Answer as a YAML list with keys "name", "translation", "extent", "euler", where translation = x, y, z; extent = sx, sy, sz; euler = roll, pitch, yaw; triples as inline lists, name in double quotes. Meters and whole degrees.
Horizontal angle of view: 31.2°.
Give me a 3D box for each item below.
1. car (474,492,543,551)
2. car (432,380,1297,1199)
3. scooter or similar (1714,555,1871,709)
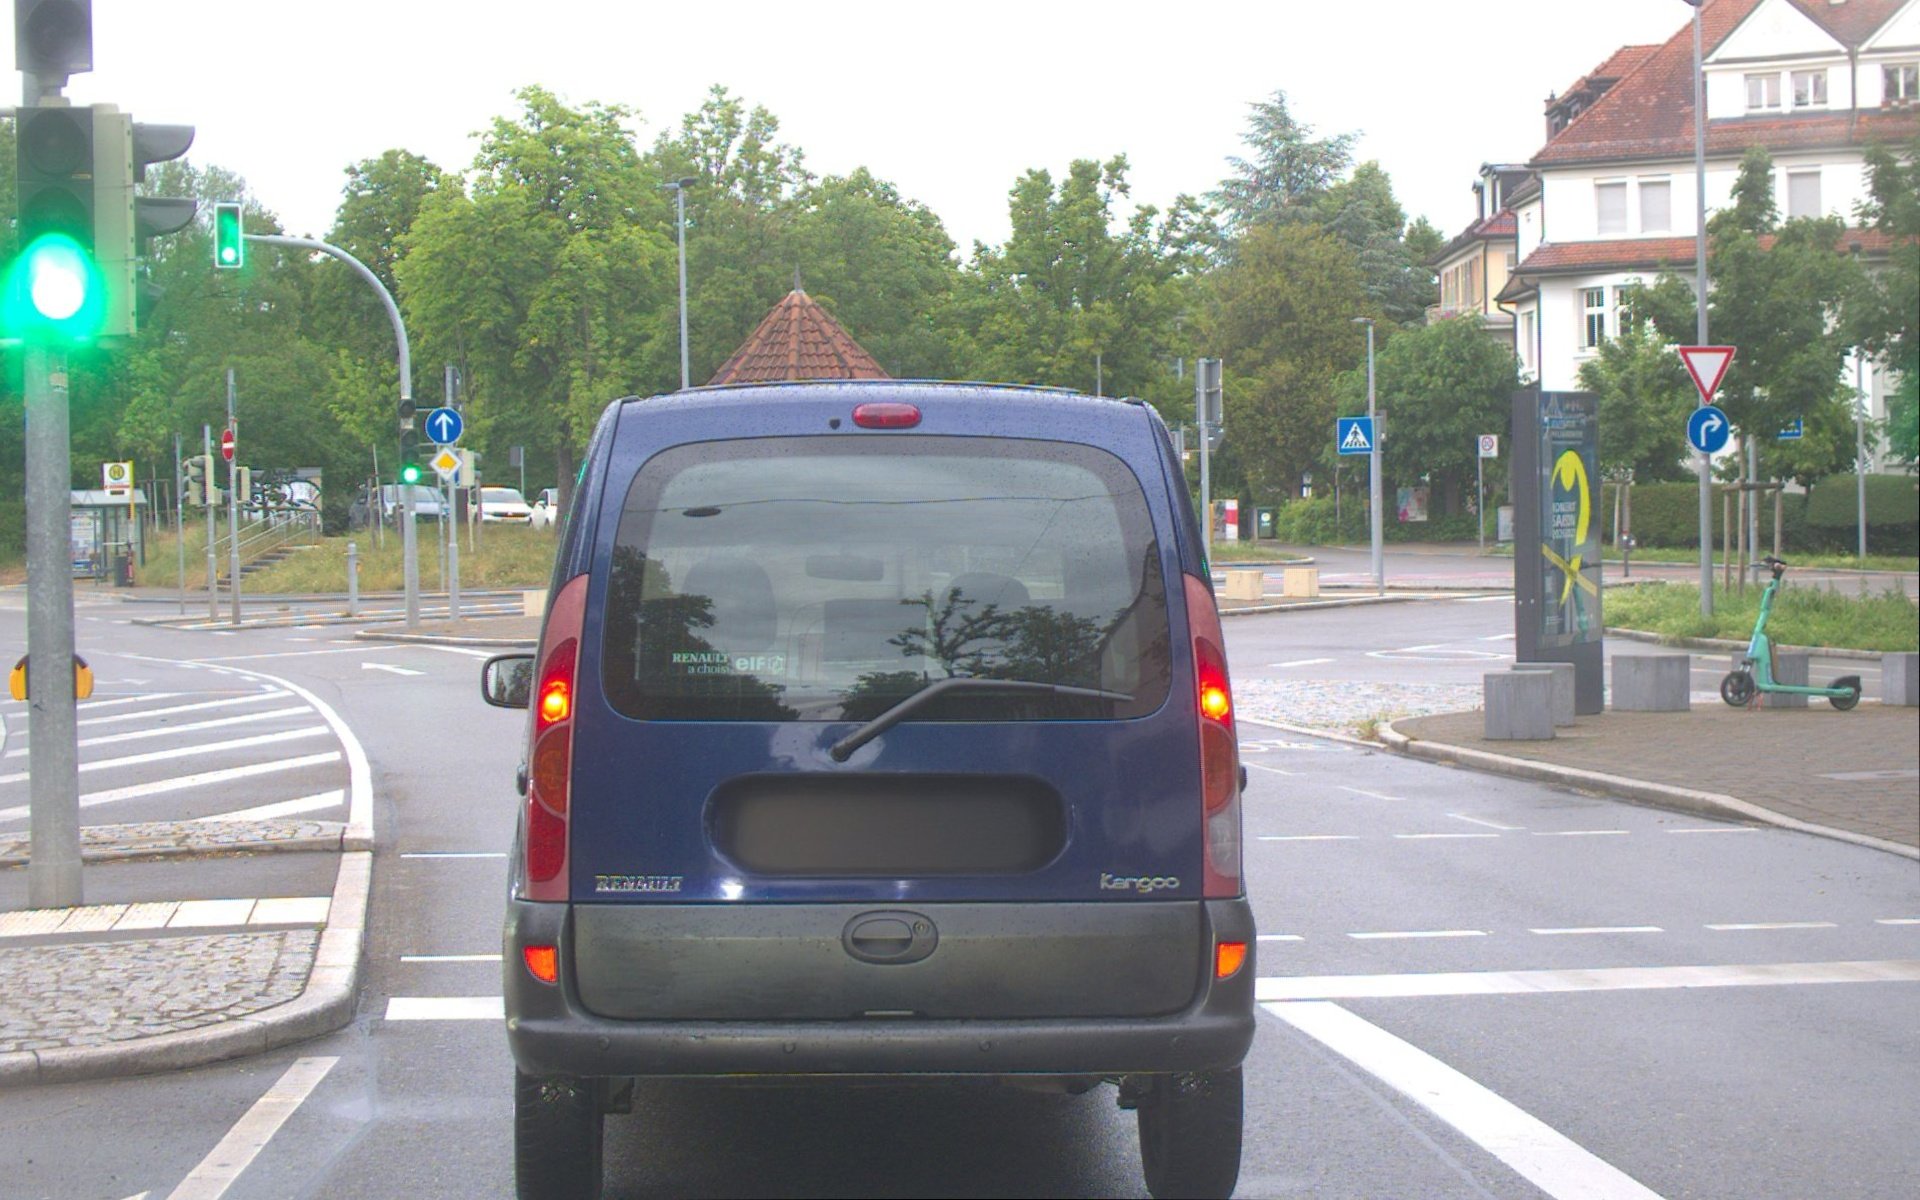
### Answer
- name: "car"
  translation: [-14.410, -2.486, 109.865]
  extent: [1.993, 1.806, 4.001]
  euler: [0, 0, -5]
- name: "car"
  translation: [-0.272, 0.408, 8.896]
  extent: [1.731, 1.780, 4.001]
  euler: [0, 1, -2]
- name: "scooter or similar"
  translation: [6.720, 0.256, 27.760]
  extent: [1.149, 1.215, 0.406]
  euler: [-1, 0, -1]
